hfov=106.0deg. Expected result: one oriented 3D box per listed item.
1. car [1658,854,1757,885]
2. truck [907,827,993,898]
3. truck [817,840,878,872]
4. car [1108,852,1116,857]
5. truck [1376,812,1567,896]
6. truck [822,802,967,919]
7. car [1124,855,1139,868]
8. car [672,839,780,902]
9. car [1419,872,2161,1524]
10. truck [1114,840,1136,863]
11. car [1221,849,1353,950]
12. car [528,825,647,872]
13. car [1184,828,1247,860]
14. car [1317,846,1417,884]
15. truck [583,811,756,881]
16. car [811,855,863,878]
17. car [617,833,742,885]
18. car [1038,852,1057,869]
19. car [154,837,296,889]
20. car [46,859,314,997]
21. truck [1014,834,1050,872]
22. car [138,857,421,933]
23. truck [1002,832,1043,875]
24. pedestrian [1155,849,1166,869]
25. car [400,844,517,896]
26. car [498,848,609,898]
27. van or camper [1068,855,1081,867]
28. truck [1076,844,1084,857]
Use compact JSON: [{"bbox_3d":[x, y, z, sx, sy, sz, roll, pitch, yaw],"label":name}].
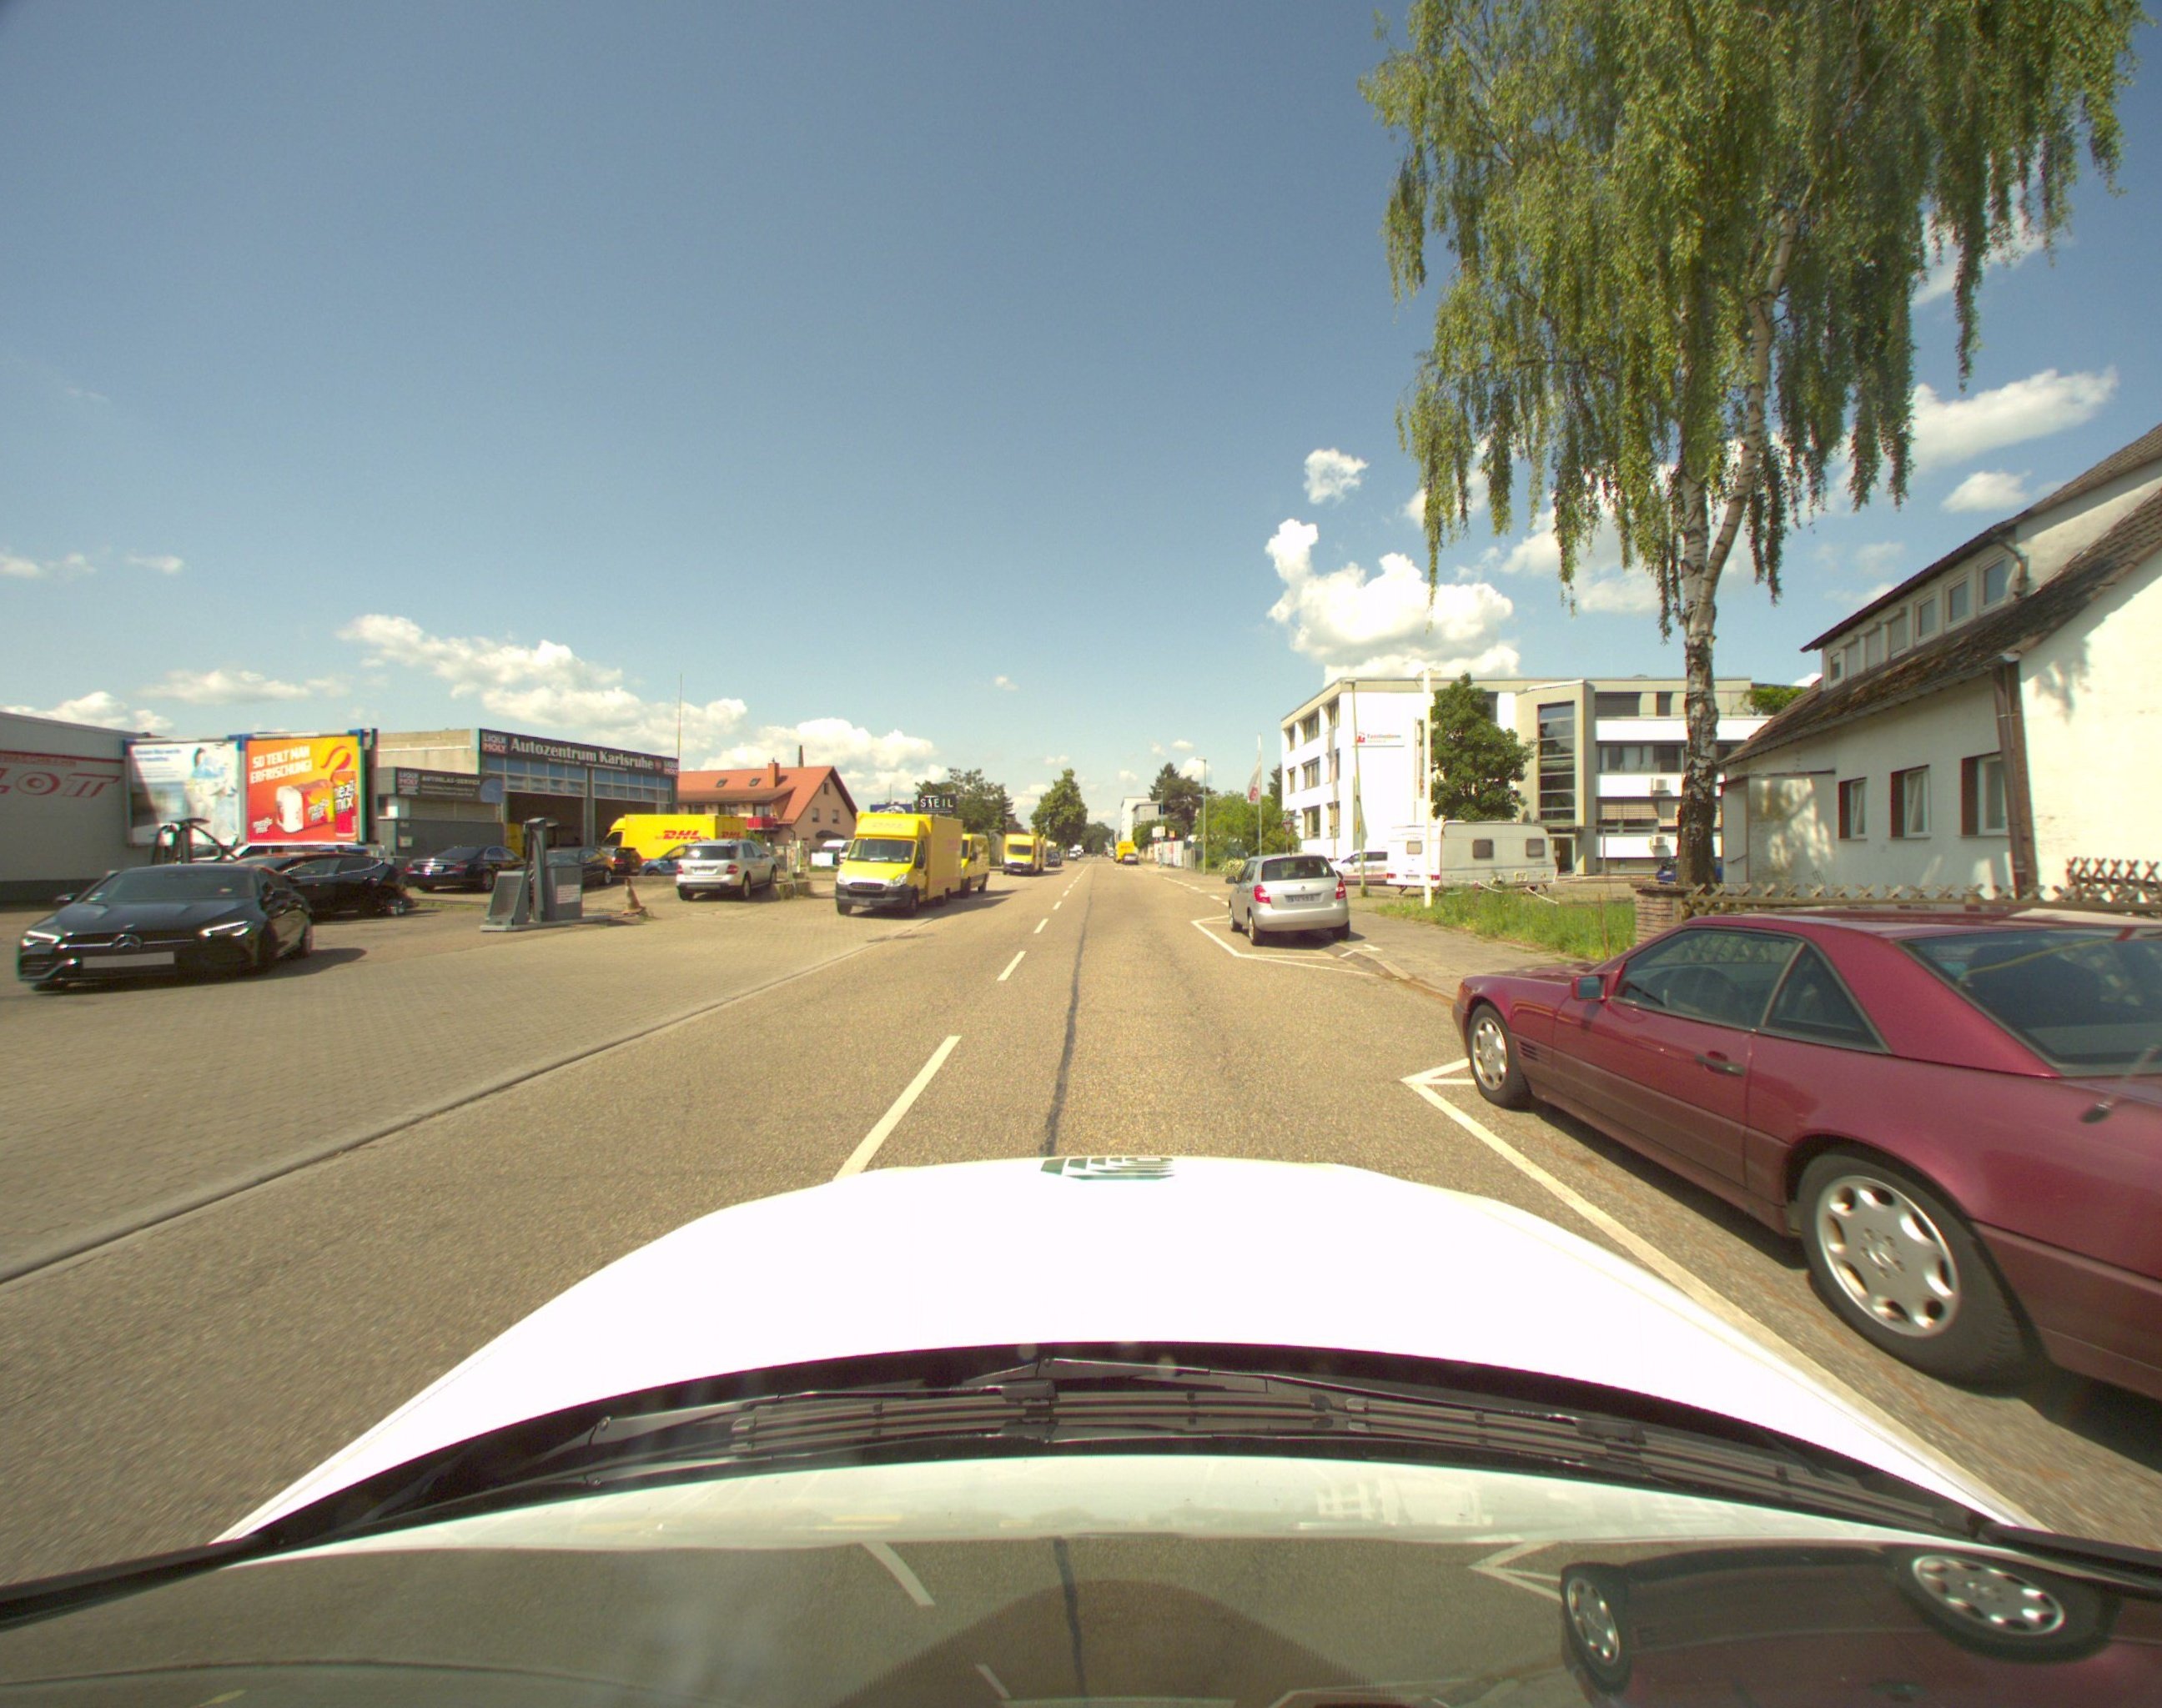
[{"bbox_3d":[28.713,0.689,37.379,3.343,1.398,1.617,0,0,-1],"label":"car"},{"bbox_3d":[-4.792,0.288,30.771,1.985,2.413,6.068,0,0,3],"label":"truck"},{"bbox_3d":[-18.970,0.146,66.388,2.095,2.487,5.743,0,0,15],"label":"truck"},{"bbox_3d":[7.580,0.126,199.980,1.921,1.310,4.001,-1,0,1],"label":"car"},{"bbox_3d":[13.066,-0.012,27.229,6.069,2.577,2.545,0,0,-25],"label":"truck"},{"bbox_3d":[-5.157,0.142,23.841,2.211,2.857,7.074,1,0,3],"label":"truck"},{"bbox_3d":[5.912,0.859,95.783,1.646,1.386,4.424,1,1,1],"label":"car"},{"bbox_3d":[-10.957,0.428,25.532,1.827,1.705,4.696,0,2,-7],"label":"car"},{"bbox_3d":[3.273,0.813,3.773,1.663,1.335,4.439,0,0,1],"label":"car"},{"bbox_3d":[5.707,-0.353,107.321,2.466,2.940,7.187,1,0,0],"label":"truck"},{"bbox_3d":[3.646,0.719,15.051,1.604,1.580,4.003,1,0,3],"label":"car"},{"bbox_3d":[-19.391,-0.208,32.040,3.817,1.731,1.738,-1,0,12],"label":"car"},{"bbox_3d":[11.263,-0.817,68.323,4.901,2.652,2.069,0,0,-7],"label":"car"},{"bbox_3d":[13.458,0.552,38.478,4.359,1.753,1.873,-1,-2,19],"label":"car"},{"bbox_3d":[-17.706,-0.342,35.138,6.551,2.850,2.538,0,0,13],"label":"truck"},{"bbox_3d":[-17.254,0.870,57.693,1.752,1.513,3.932,0,0,14],"label":"car"},{"bbox_3d":[-15.384,0.156,31.275,3.903,1.810,1.861,2,0,11],"label":"car"},{"bbox_3d":[-3.486,0.654,84.821,1.719,1.604,4.413,3,0,-1],"label":"car"},{"bbox_3d":[-27.095,0.282,25.807,3.481,1.592,1.568,0,0,14],"label":"car"},{"bbox_3d":[-11.779,0.824,10.555,4.533,1.395,2.013,-2,-1,38],"label":"car"},{"bbox_3d":[-3.948,-0.050,66.847,2.308,2.862,7.106,2,0,1],"label":"truck"},{"bbox_3d":[-16.501,0.767,17.061,1.879,1.290,3.763,0,2,13],"label":"car"},{"bbox_3d":[-4.027,-0.001,57.405,2.261,2.855,7.174,1,0,1],"label":"truck"},{"bbox_3d":[6.802,0.412,70.018,0.714,1.697,0.522,-6,0,-4],"label":"pedestrian"},{"bbox_3d":[-19.947,0.459,26.296,1.870,1.372,3.974,2,2,-20],"label":"car"},{"bbox_3d":[-17.070,0.554,26.581,1.671,1.287,3.994,0,4,-11],"label":"car"},{"bbox_3d":[-1.315,1.447,166.892,2.164,2.413,7.706,0,0,4],"label":"van or camper"},{"bbox_3d":[-0.190,-0.902,212.175,2.022,3.154,6.501,-1,0,1],"label":"truck"}]
